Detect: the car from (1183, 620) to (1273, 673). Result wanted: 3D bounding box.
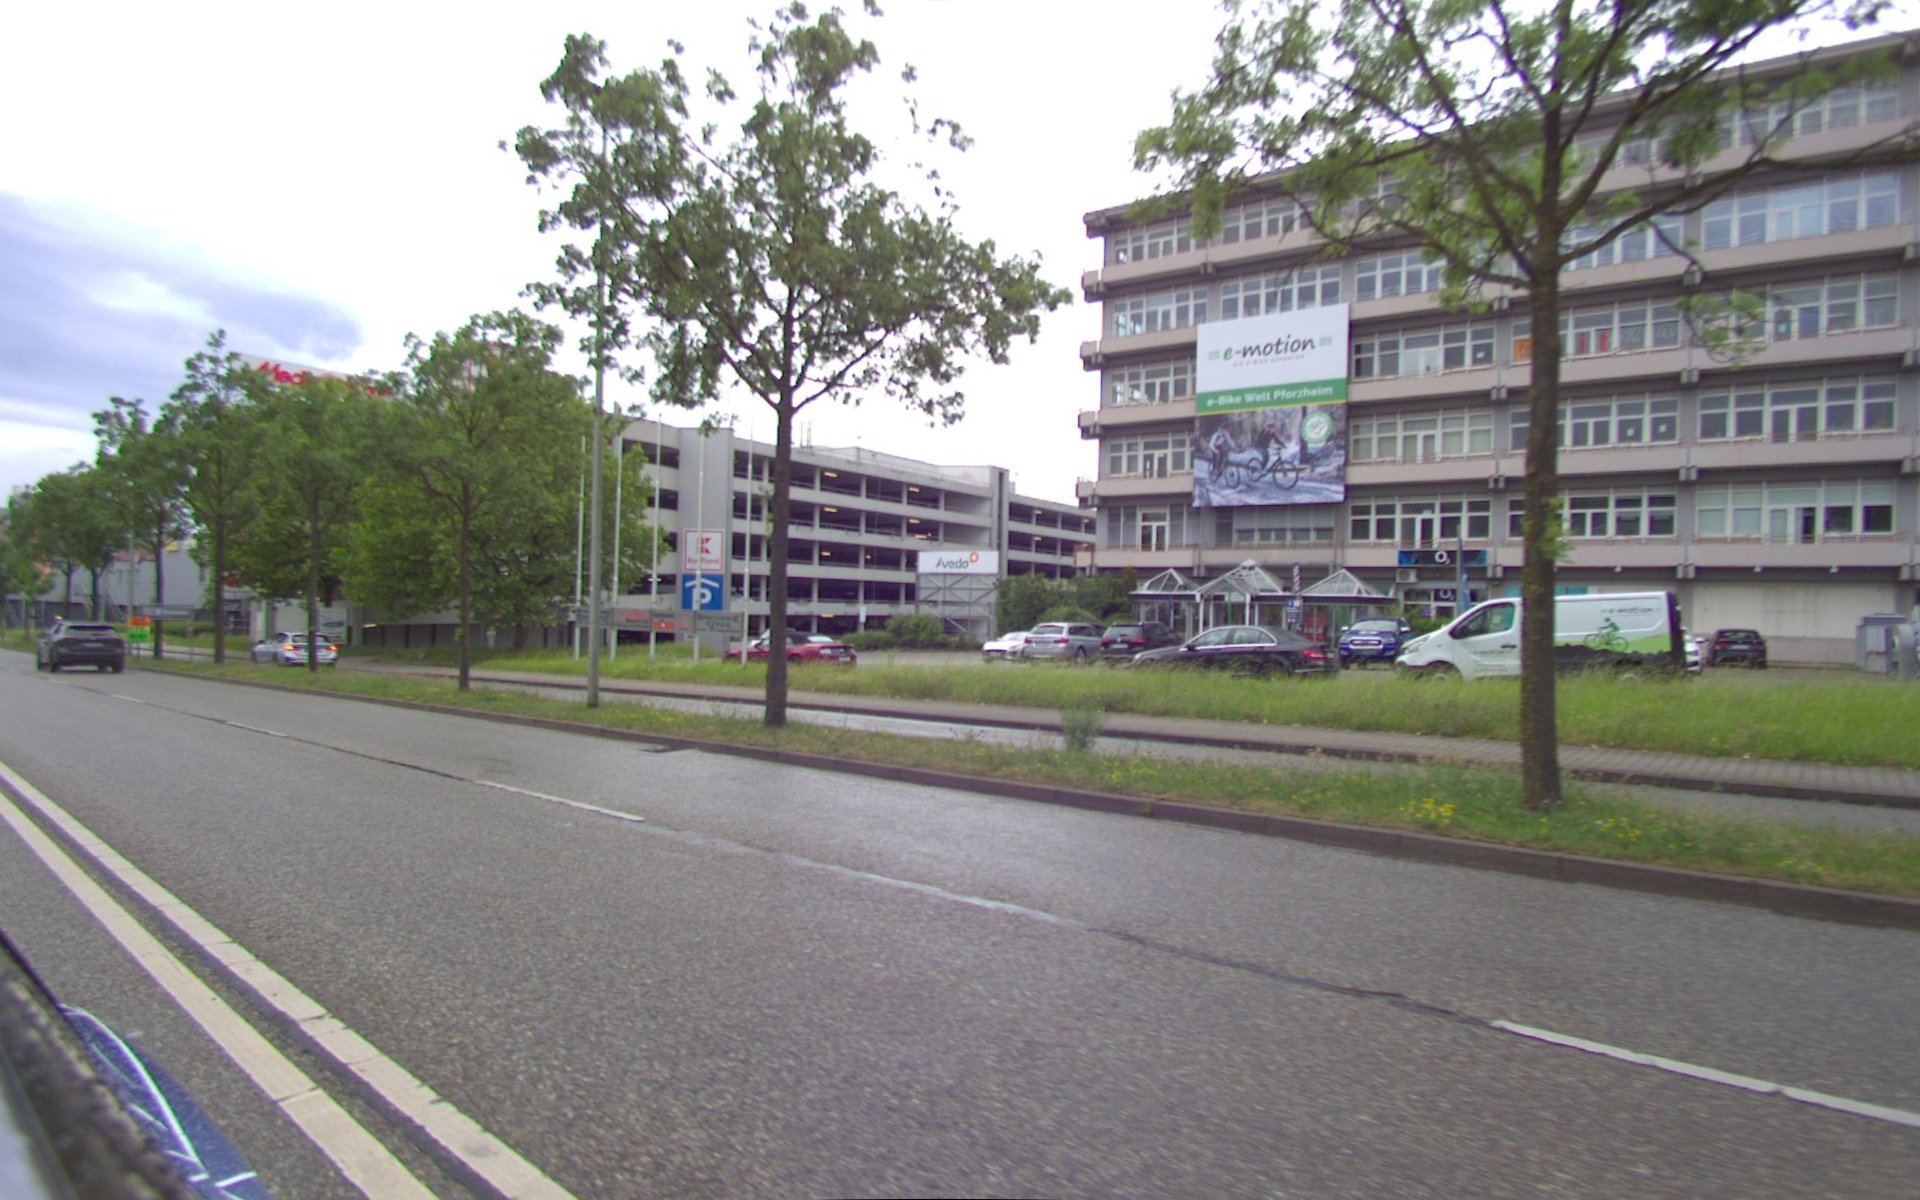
[{"bbox_3d":[9.849,1.664,36.994,1.894,1.759,4.464,-3,-2,32],"label":"car"}]

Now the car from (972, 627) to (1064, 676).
[{"bbox_3d":[2.437,2.084,41.631,1.958,1.759,4.568,-3,-1,29],"label":"car"}]

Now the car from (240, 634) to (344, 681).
[{"bbox_3d":[-24.033,2.043,36.360,4.572,1.565,1.848,-1,-4,40],"label":"car"}]

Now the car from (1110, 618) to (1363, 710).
[{"bbox_3d":[5.973,1.365,22.204,4.938,1.775,2.020,-3,-2,38],"label":"car"}]

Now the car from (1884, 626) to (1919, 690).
[{"bbox_3d":[25.703,1.477,26.192,1.841,1.522,4.243,-3,-2,32],"label":"car"}]

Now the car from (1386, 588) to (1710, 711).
[{"bbox_3d":[11.173,0.946,19.583,5.104,2.112,2.098,-3,-2,32],"label":"car"}]

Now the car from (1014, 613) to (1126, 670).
[{"bbox_3d":[3.831,1.378,34.590,1.961,1.759,4.563,-3,-2,32],"label":"car"}]

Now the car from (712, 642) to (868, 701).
[{"bbox_3d":[-5.222,2.146,30.748,4.701,1.621,1.916,-3,-2,36],"label":"car"}]

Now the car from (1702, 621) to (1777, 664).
[{"bbox_3d":[30.473,1.627,39.673,1.841,1.522,4.243,-3,-2,32],"label":"car"}]

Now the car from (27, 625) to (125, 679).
[{"bbox_3d":[-28.813,1.657,32.954,4.434,1.626,1.768,-1,-4,41],"label":"car"}]

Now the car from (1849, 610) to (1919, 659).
[{"bbox_3d":[35.688,1.302,38.785,1.795,1.745,3.954,-3,-2,33],"label":"car"}]

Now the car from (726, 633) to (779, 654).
[{"bbox_3d":[-15.736,3.289,76.859,3.787,1.473,1.754,-1,0,-3],"label":"car"}]

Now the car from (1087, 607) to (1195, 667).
[{"bbox_3d":[5.980,1.165,33.046,1.894,1.759,4.464,-3,-2,32],"label":"car"}]

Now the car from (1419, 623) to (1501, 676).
[{"bbox_3d":[16.189,1.554,32.664,1.940,1.522,4.145,-3,-2,32],"label":"car"}]

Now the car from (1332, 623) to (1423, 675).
[{"bbox_3d":[13.960,1.580,33.696,2.018,1.522,4.574,-3,-2,32],"label":"car"}]

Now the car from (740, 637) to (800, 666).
[{"bbox_3d":[-9.382,2.548,50.137,1.604,1.376,2.676,-3,-4,30],"label":"car"}]
